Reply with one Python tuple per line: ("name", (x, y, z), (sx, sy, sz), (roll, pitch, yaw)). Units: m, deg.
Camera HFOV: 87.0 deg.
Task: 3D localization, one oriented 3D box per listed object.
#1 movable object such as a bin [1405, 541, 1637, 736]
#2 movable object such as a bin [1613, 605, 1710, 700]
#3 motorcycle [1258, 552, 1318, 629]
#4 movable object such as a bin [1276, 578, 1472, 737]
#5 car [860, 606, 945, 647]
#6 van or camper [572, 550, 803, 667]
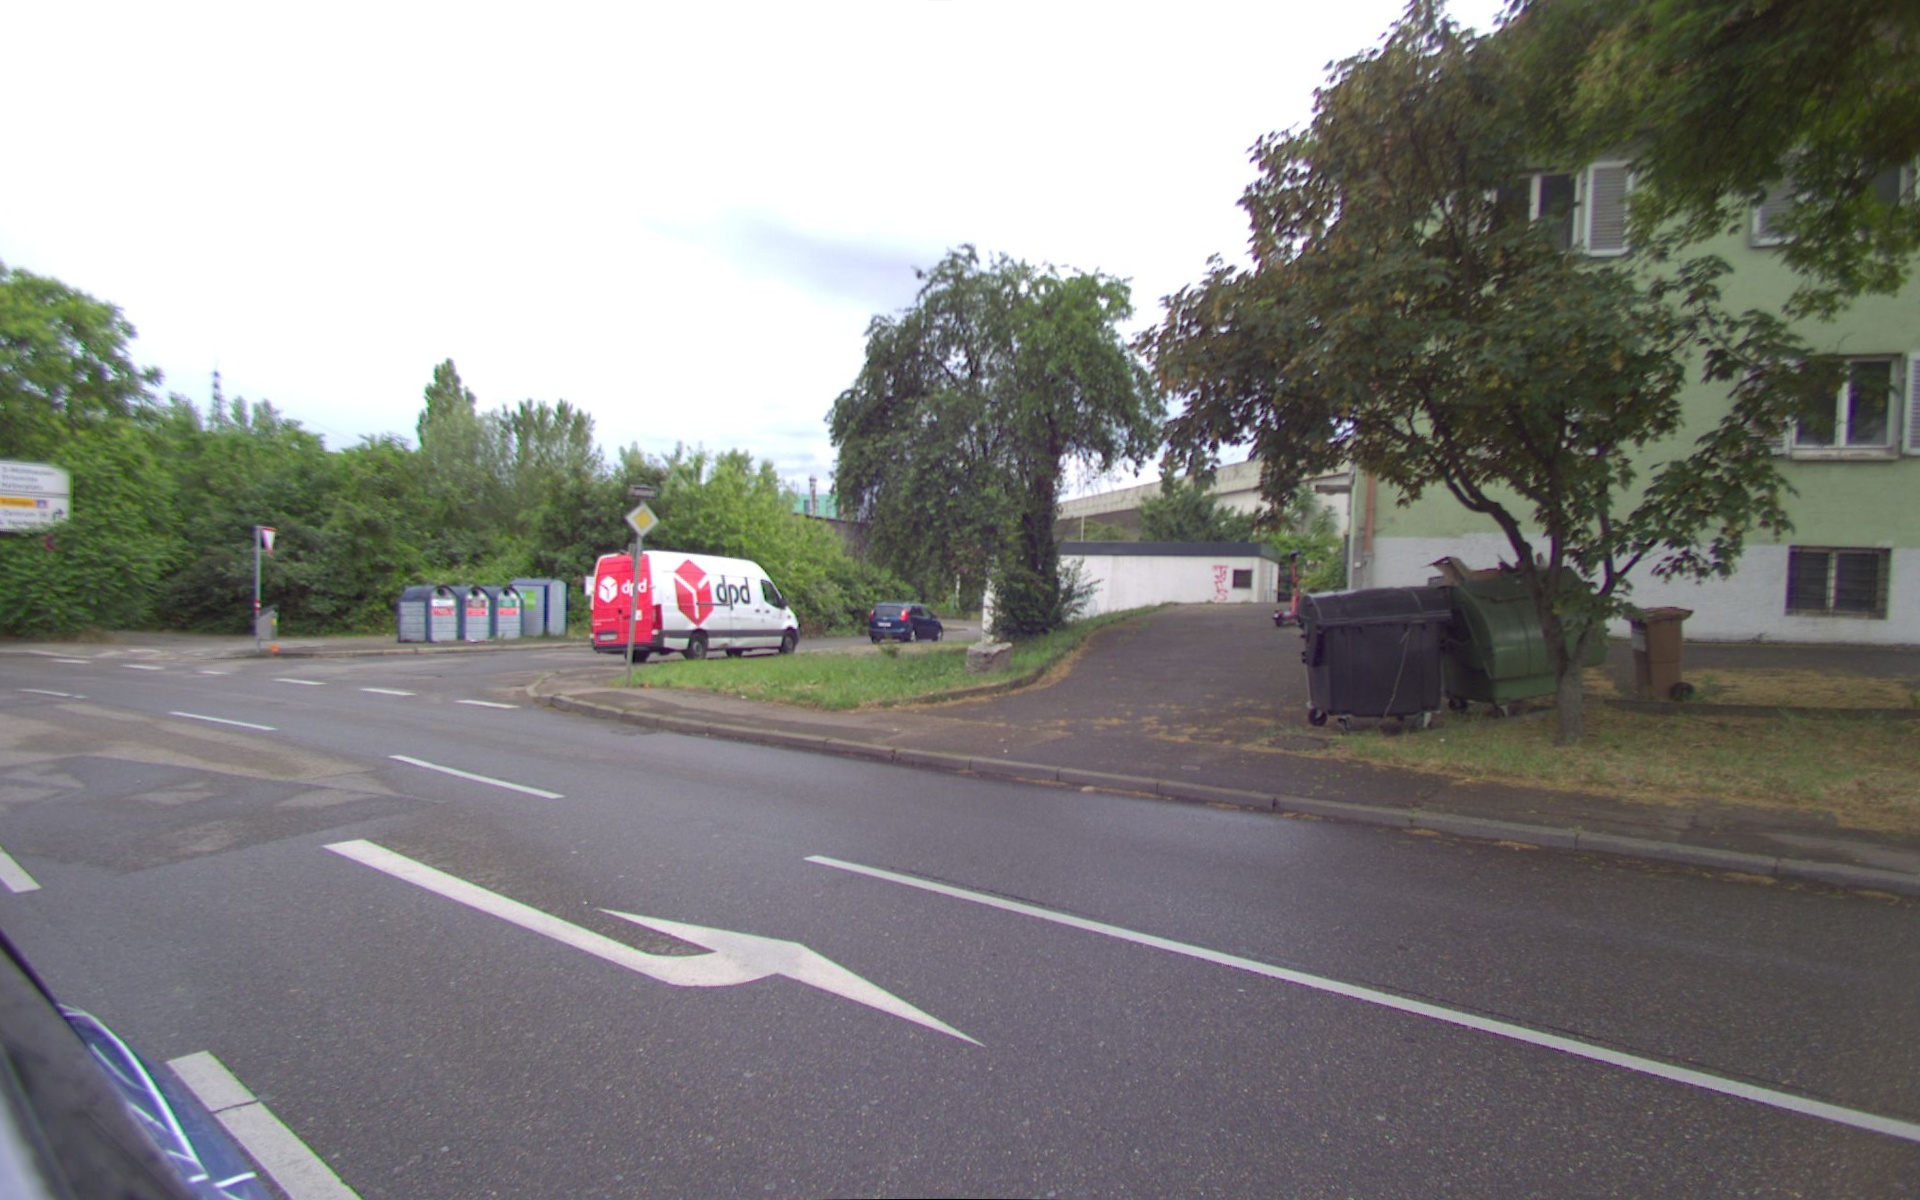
("movable object such as a bin", (5.668, 0.371, 10.396), (1.434, 1.774, 1.577), (-3, 0, 3))
("movable object such as a bin", (7.145, 0.524, 10.328), (0.555, 0.917, 0.541), (-3, 0, 3))
("motorcycle", (5.570, -0.191, 17.146), (0.431, 1.205, 1.463), (3, 5, 40))
("movable object such as a bin", (4.193, 0.553, 10.435), (1.359, 1.452, 1.471), (-3, 0, 3))
("car", (-2.226, 1.022, 40.365), (1.985, 1.541, 4.042), (0, 0, 20))
("van or camper", (-6.581, 0.204, 25.588), (2.207, 2.541, 6.651), (0, 0, 20))
